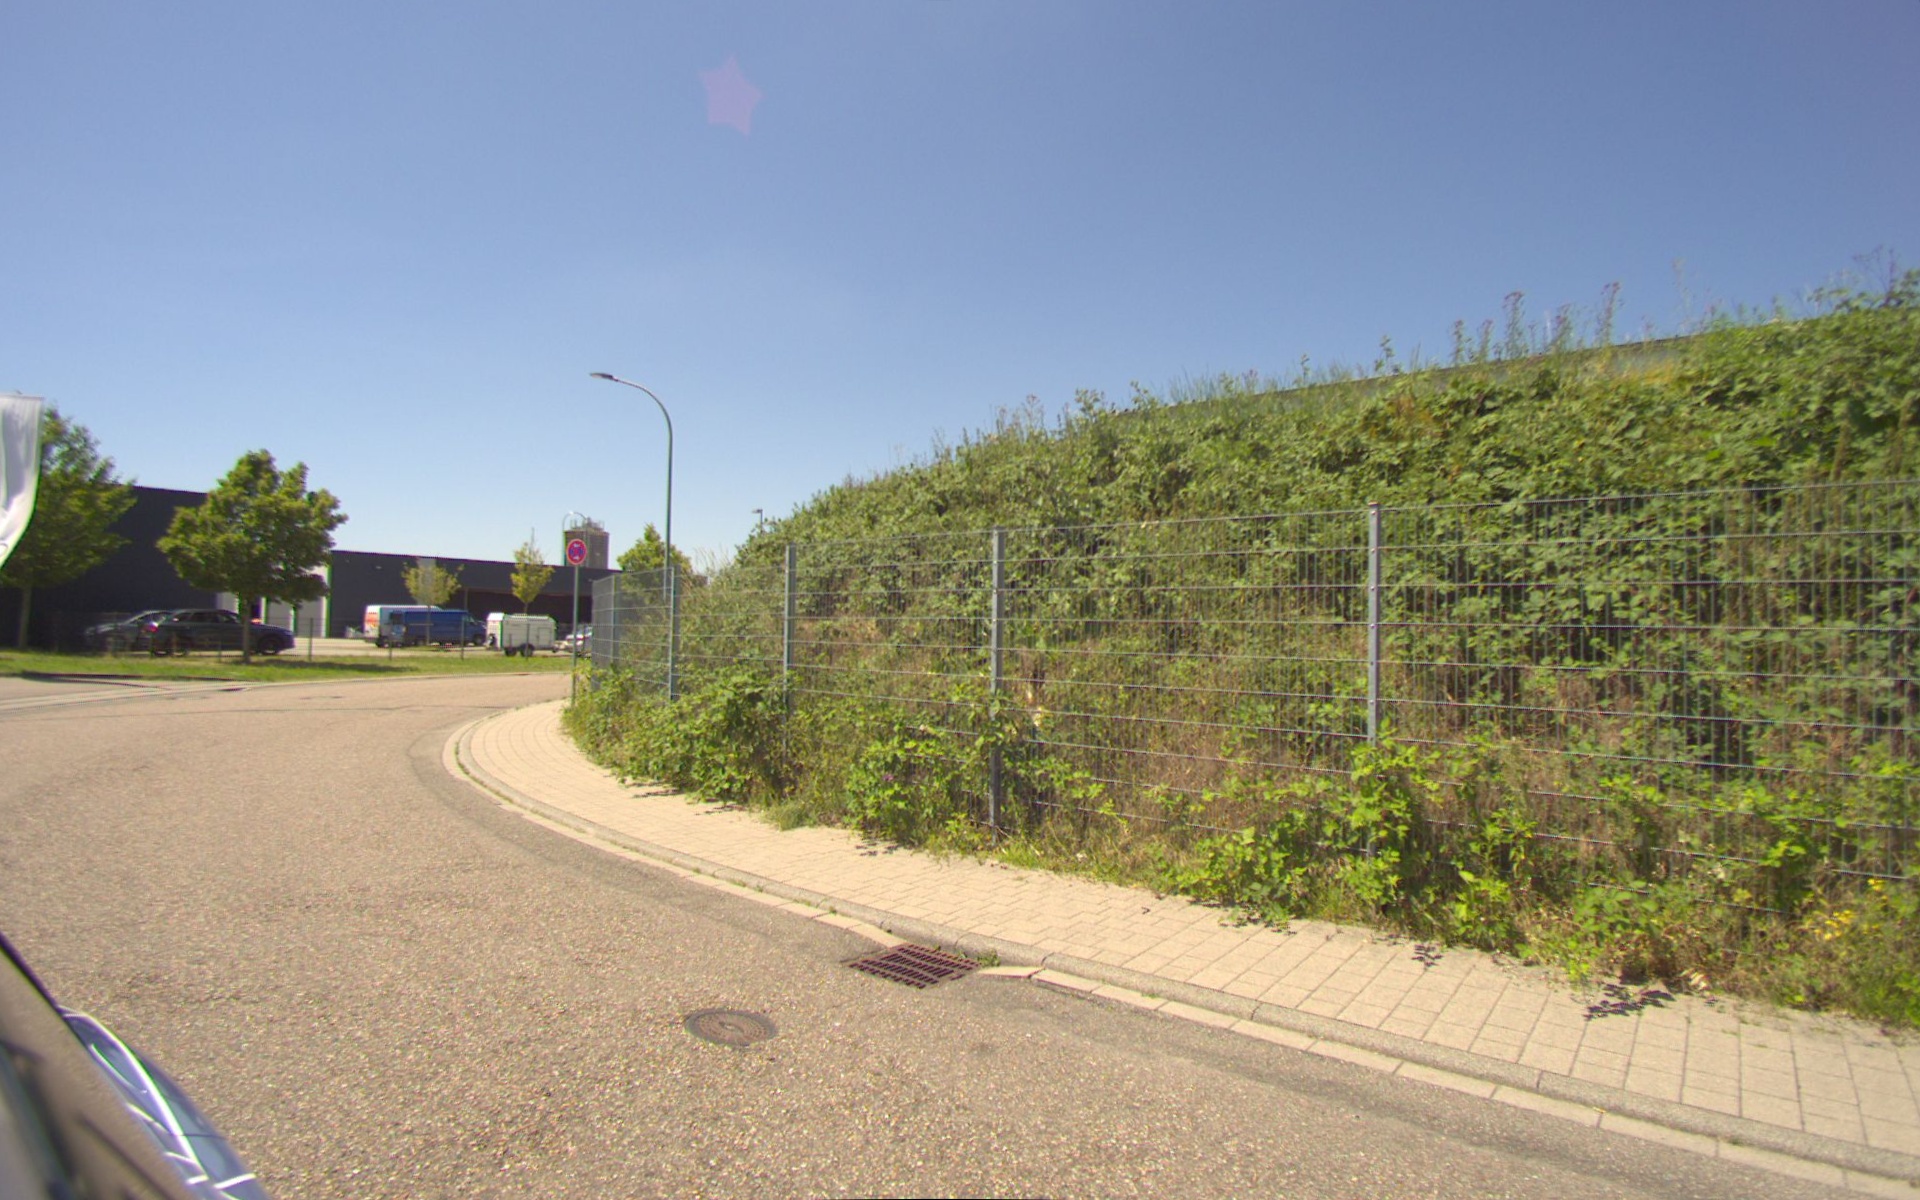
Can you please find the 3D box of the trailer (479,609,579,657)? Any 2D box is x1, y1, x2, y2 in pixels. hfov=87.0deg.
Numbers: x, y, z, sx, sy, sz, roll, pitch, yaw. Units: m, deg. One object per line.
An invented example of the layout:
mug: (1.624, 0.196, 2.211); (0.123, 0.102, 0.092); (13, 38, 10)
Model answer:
trailer: (-19.559, 1.540, 46.011); (1.853, 2.014, 3.689); (-2, -5, 39)

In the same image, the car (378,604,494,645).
car: (-30.810, 1.396, 59.660); (2.140, 2.241, 5.762); (0, 0, 36)

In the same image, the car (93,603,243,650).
car: (-30.208, 1.035, 38.700); (1.777, 1.579, 4.120); (0, -4, 37)

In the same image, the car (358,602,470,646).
car: (-33.066, 1.421, 61.418); (2.192, 2.476, 5.609); (-2, 0, 36)

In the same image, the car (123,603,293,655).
car: (-24.982, 0.947, 33.748); (1.777, 1.613, 4.230); (0, -1, 37)

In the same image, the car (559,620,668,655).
car: (-16.845, 1.779, 49.393); (1.853, 1.510, 4.793); (-2, 0, 39)
